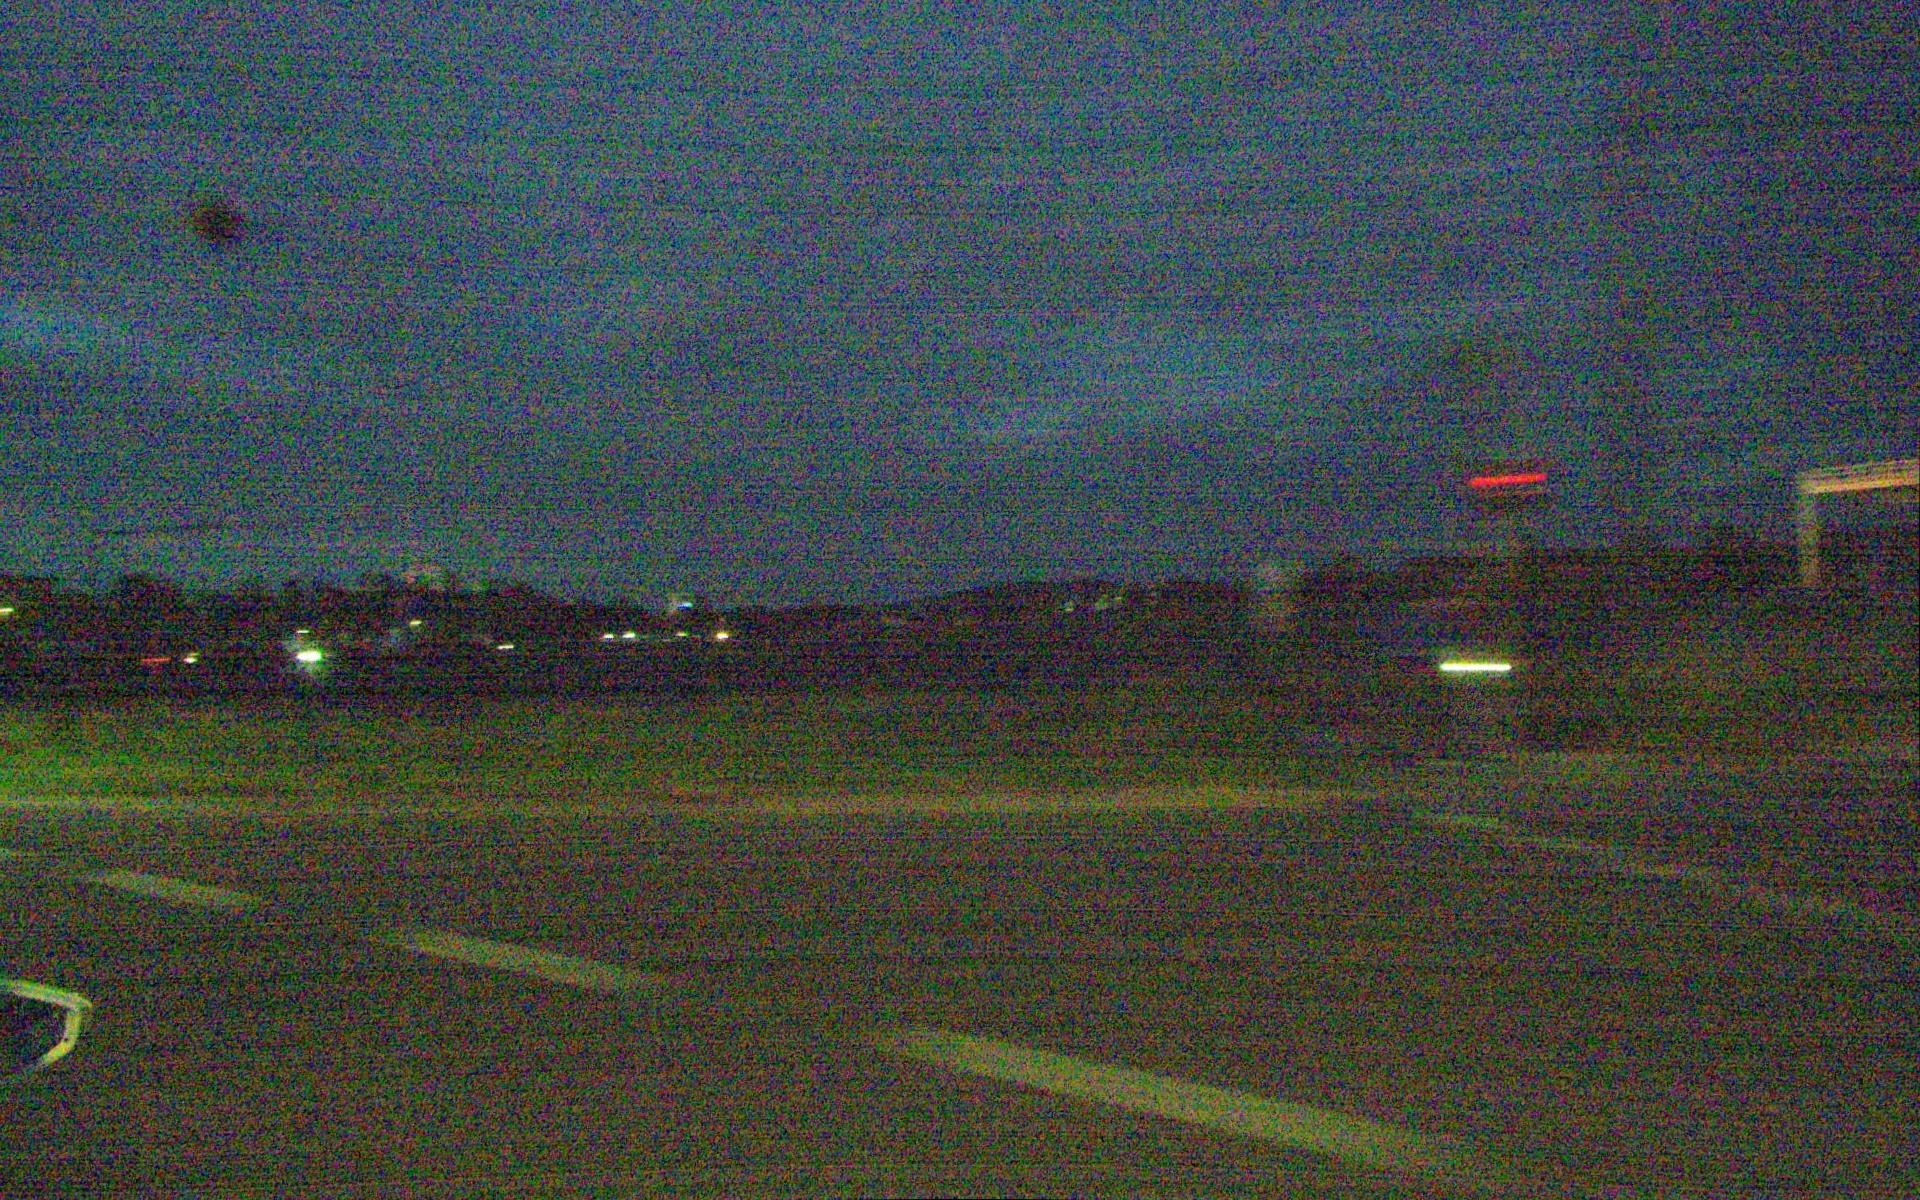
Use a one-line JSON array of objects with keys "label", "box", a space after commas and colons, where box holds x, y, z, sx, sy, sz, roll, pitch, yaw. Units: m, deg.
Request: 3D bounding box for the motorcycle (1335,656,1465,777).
[{"label": "motorcycle", "box": [4.234, 1.120, 9.759, 0.709, 1.045, 1.579, -4, -6, 9]}]

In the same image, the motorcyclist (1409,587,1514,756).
[{"label": "motorcyclist", "box": [5.578, 0.798, 11.190, 0.671, 1.780, 0.791, -3, -4, 3]}]

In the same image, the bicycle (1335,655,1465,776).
[{"label": "bicycle", "box": [4.233, 1.114, 9.760, 0.709, 1.045, 1.579, -4, -6, 9]}]

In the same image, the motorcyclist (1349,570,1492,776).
[{"label": "motorcyclist", "box": [4.371, 0.706, 9.596, 0.900, 1.829, 0.871, -4, -5, 9]}]

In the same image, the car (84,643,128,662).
[{"label": "car", "box": [-97.263, 5.962, 114.083, 1.962, 2.040, 3.999, 0, 0, -7]}]

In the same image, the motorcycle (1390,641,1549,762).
[{"label": "motorcycle", "box": [5.571, 1.108, 11.104, 0.833, 1.195, 1.824, -3, -5, 3]}]
